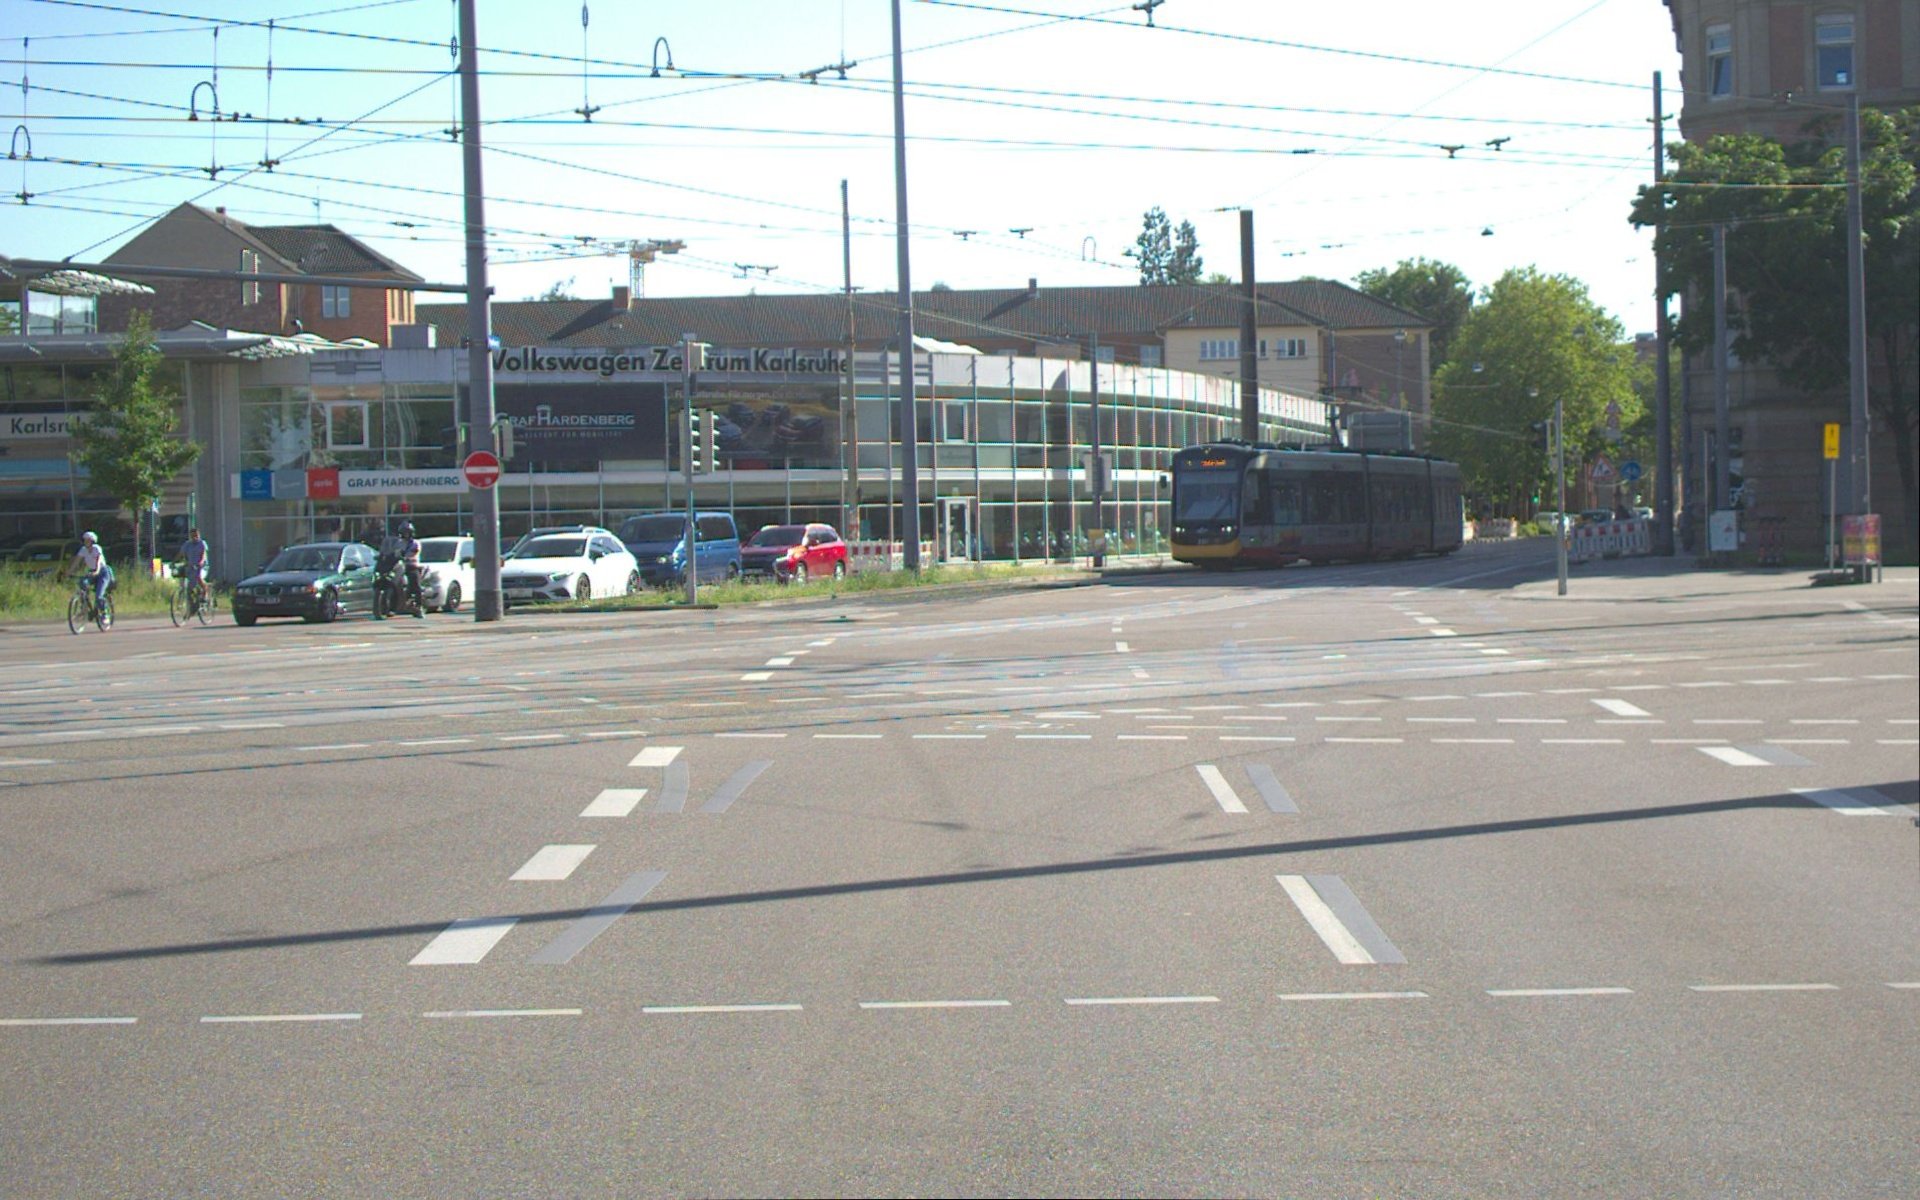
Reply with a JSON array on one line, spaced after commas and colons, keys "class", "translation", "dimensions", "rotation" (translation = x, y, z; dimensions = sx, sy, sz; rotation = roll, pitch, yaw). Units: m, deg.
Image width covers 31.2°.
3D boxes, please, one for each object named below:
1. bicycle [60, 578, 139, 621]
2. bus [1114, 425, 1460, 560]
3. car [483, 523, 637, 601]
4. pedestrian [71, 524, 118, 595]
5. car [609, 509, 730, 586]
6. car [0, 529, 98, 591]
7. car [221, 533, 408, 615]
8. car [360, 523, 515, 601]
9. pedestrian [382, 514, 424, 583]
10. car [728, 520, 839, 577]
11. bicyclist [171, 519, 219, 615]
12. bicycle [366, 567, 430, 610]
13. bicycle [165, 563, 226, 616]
[{"class": "bicycle", "translation": [-14.916, -0.012, 59.624], "dimensions": [0.423, 0.715, 1.473], "rotation": [0, 1, 28]}, {"class": "bus", "translation": [10.430, -3.016, 103.884], "dimensions": [3.841, 3.595, 24.839], "rotation": [1, 1, 21]}, {"class": "car", "translation": [-7.520, -0.736, 64.928], "dimensions": [1.627, 1.377, 3.735], "rotation": [-1, 1, 14]}, {"class": "pedestrian", "translation": [-14.979, -0.701, 59.516], "dimensions": [0.423, 1.200, 0.679], "rotation": [0, 1, 28]}, {"class": "car", "translation": [-6.644, -1.227, 78.940], "dimensions": [1.627, 1.686, 3.683], "rotation": [-1, 1, 14]}, {"class": "car", "translation": [-26.532, -1.175, 99.858], "dimensions": [1.966, 1.700, 4.084], "rotation": [-1, 1, -1]}, {"class": "car", "translation": [-11.387, -0.474, 60.859], "dimensions": [1.705, 1.349, 3.698], "rotation": [-1, 1, 17]}, {"class": "car", "translation": [-10.118, -0.758, 66.810], "dimensions": [1.627, 1.419, 3.683], "rotation": [-1, 1, 14]}, {"class": "pedestrian", "translation": [-9.787, -0.906, 60.397], "dimensions": [0.423, 1.200, 0.749], "rotation": [-1, 1, 17]}, {"class": "car", "translation": [-4.396, -1.295, 86.068], "dimensions": [1.627, 1.359, 3.683], "rotation": [-1, 1, 16]}, {"class": "bicyclist", "translation": [-13.738, -0.601, 61.753], "dimensions": [0.569, 1.708, 0.648], "rotation": [-1, 1, 13]}, {"class": "bicycle", "translation": [-9.840, -0.206, 60.267], "dimensions": [0.423, 0.715, 1.633], "rotation": [-1, 1, 17]}, {"class": "bicycle", "translation": [-13.749, -0.195, 61.826], "dimensions": [0.468, 0.923, 1.474], "rotation": [-1, 1, 13]}]
